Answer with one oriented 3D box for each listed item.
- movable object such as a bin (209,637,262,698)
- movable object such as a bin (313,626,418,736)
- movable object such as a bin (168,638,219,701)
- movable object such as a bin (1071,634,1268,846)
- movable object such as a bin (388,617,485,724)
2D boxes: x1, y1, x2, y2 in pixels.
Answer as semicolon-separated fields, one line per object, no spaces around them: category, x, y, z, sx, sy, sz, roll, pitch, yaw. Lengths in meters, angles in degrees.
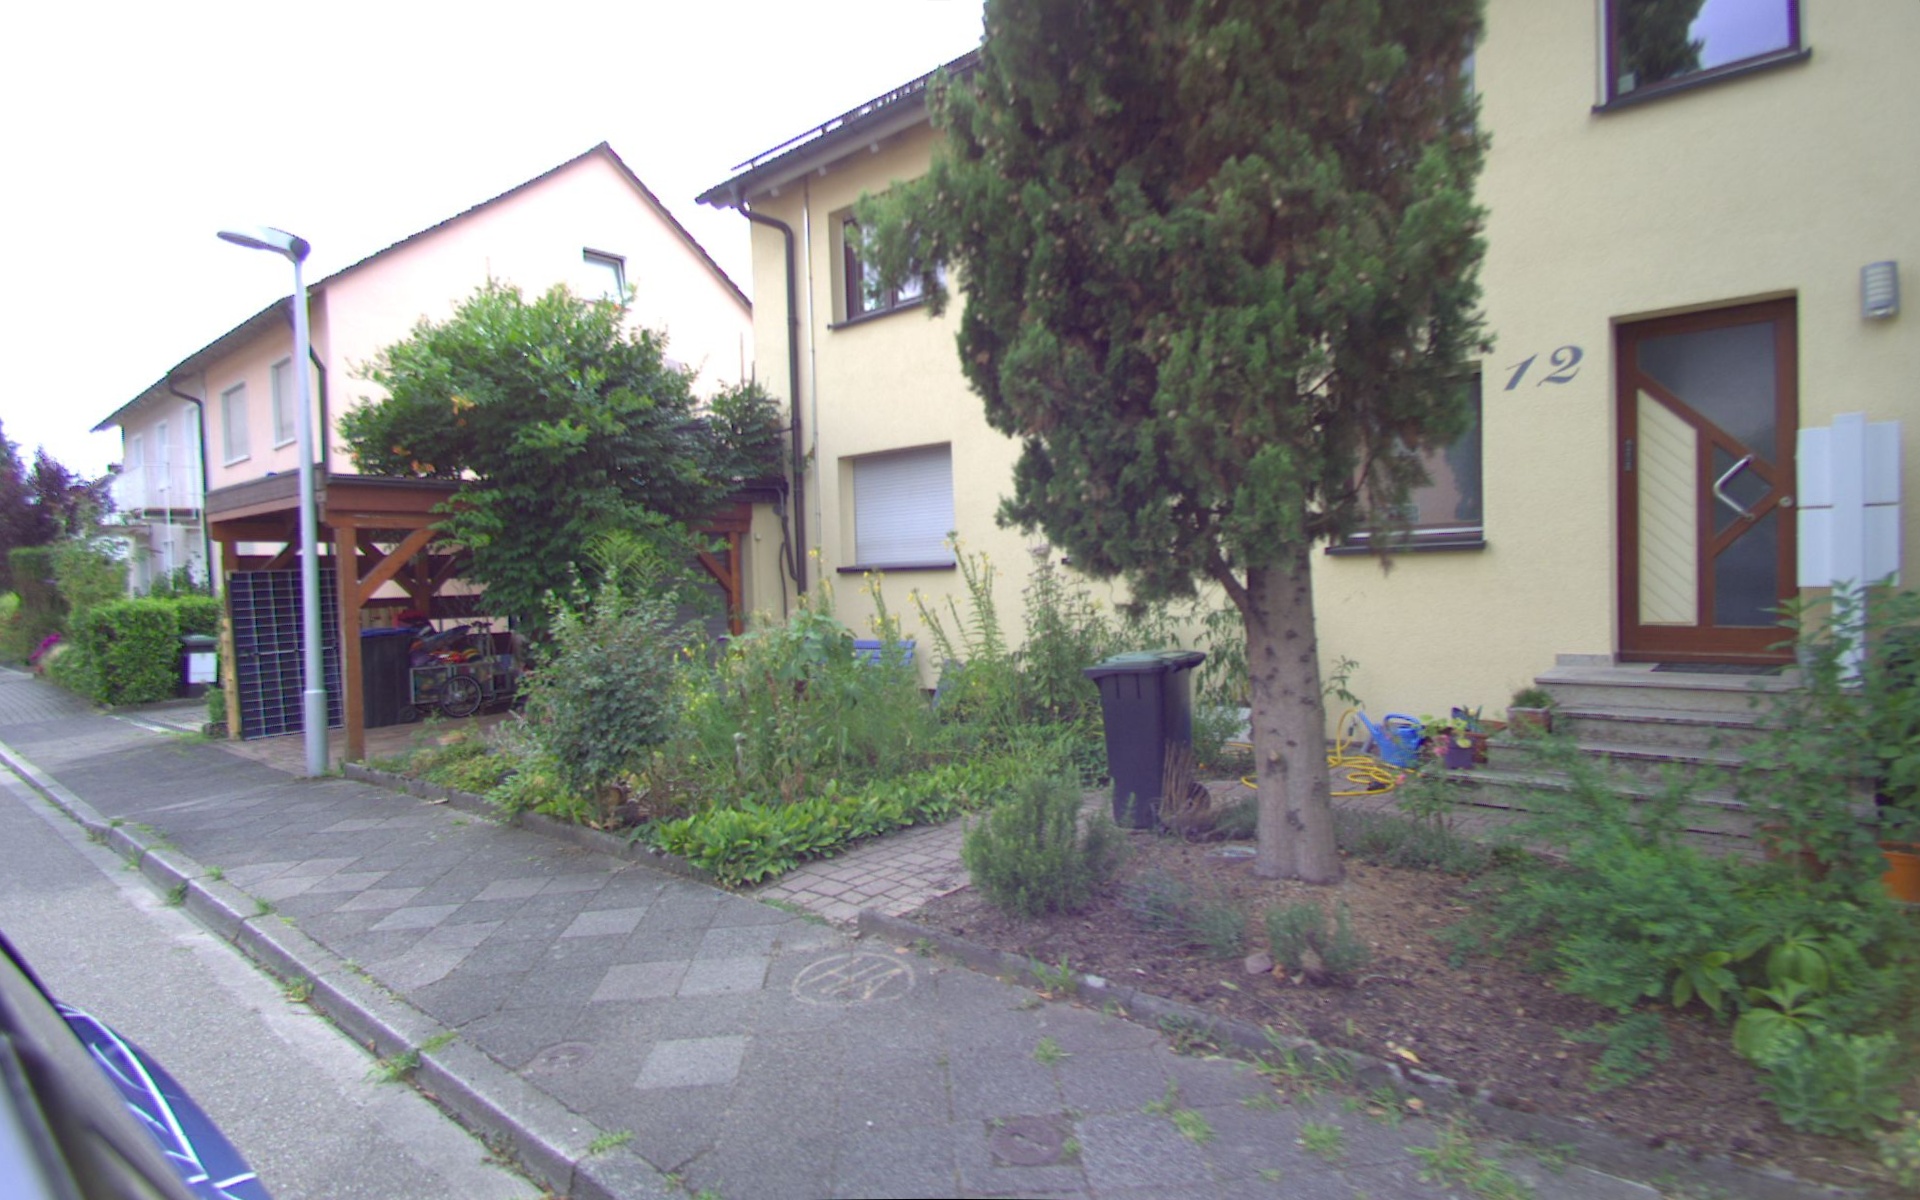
movable object such as a bin;-11.211;1.034;15.666;0.534;0.886;0.532;-1;1;41
movable object such as a bin;-6.483;0.855;11.033;0.822;1.079;0.697;-2;3;41
movable object such as a bin;-11.549;1.034;15.251;0.530;0.888;0.490;-1;1;41
movable object such as a bin;1.104;0.682;5.324;0.750;0.963;0.704;-1;1;41
movable object such as a bin;-5.997;0.779;11.593;0.877;1.138;0.696;-1;0;41
